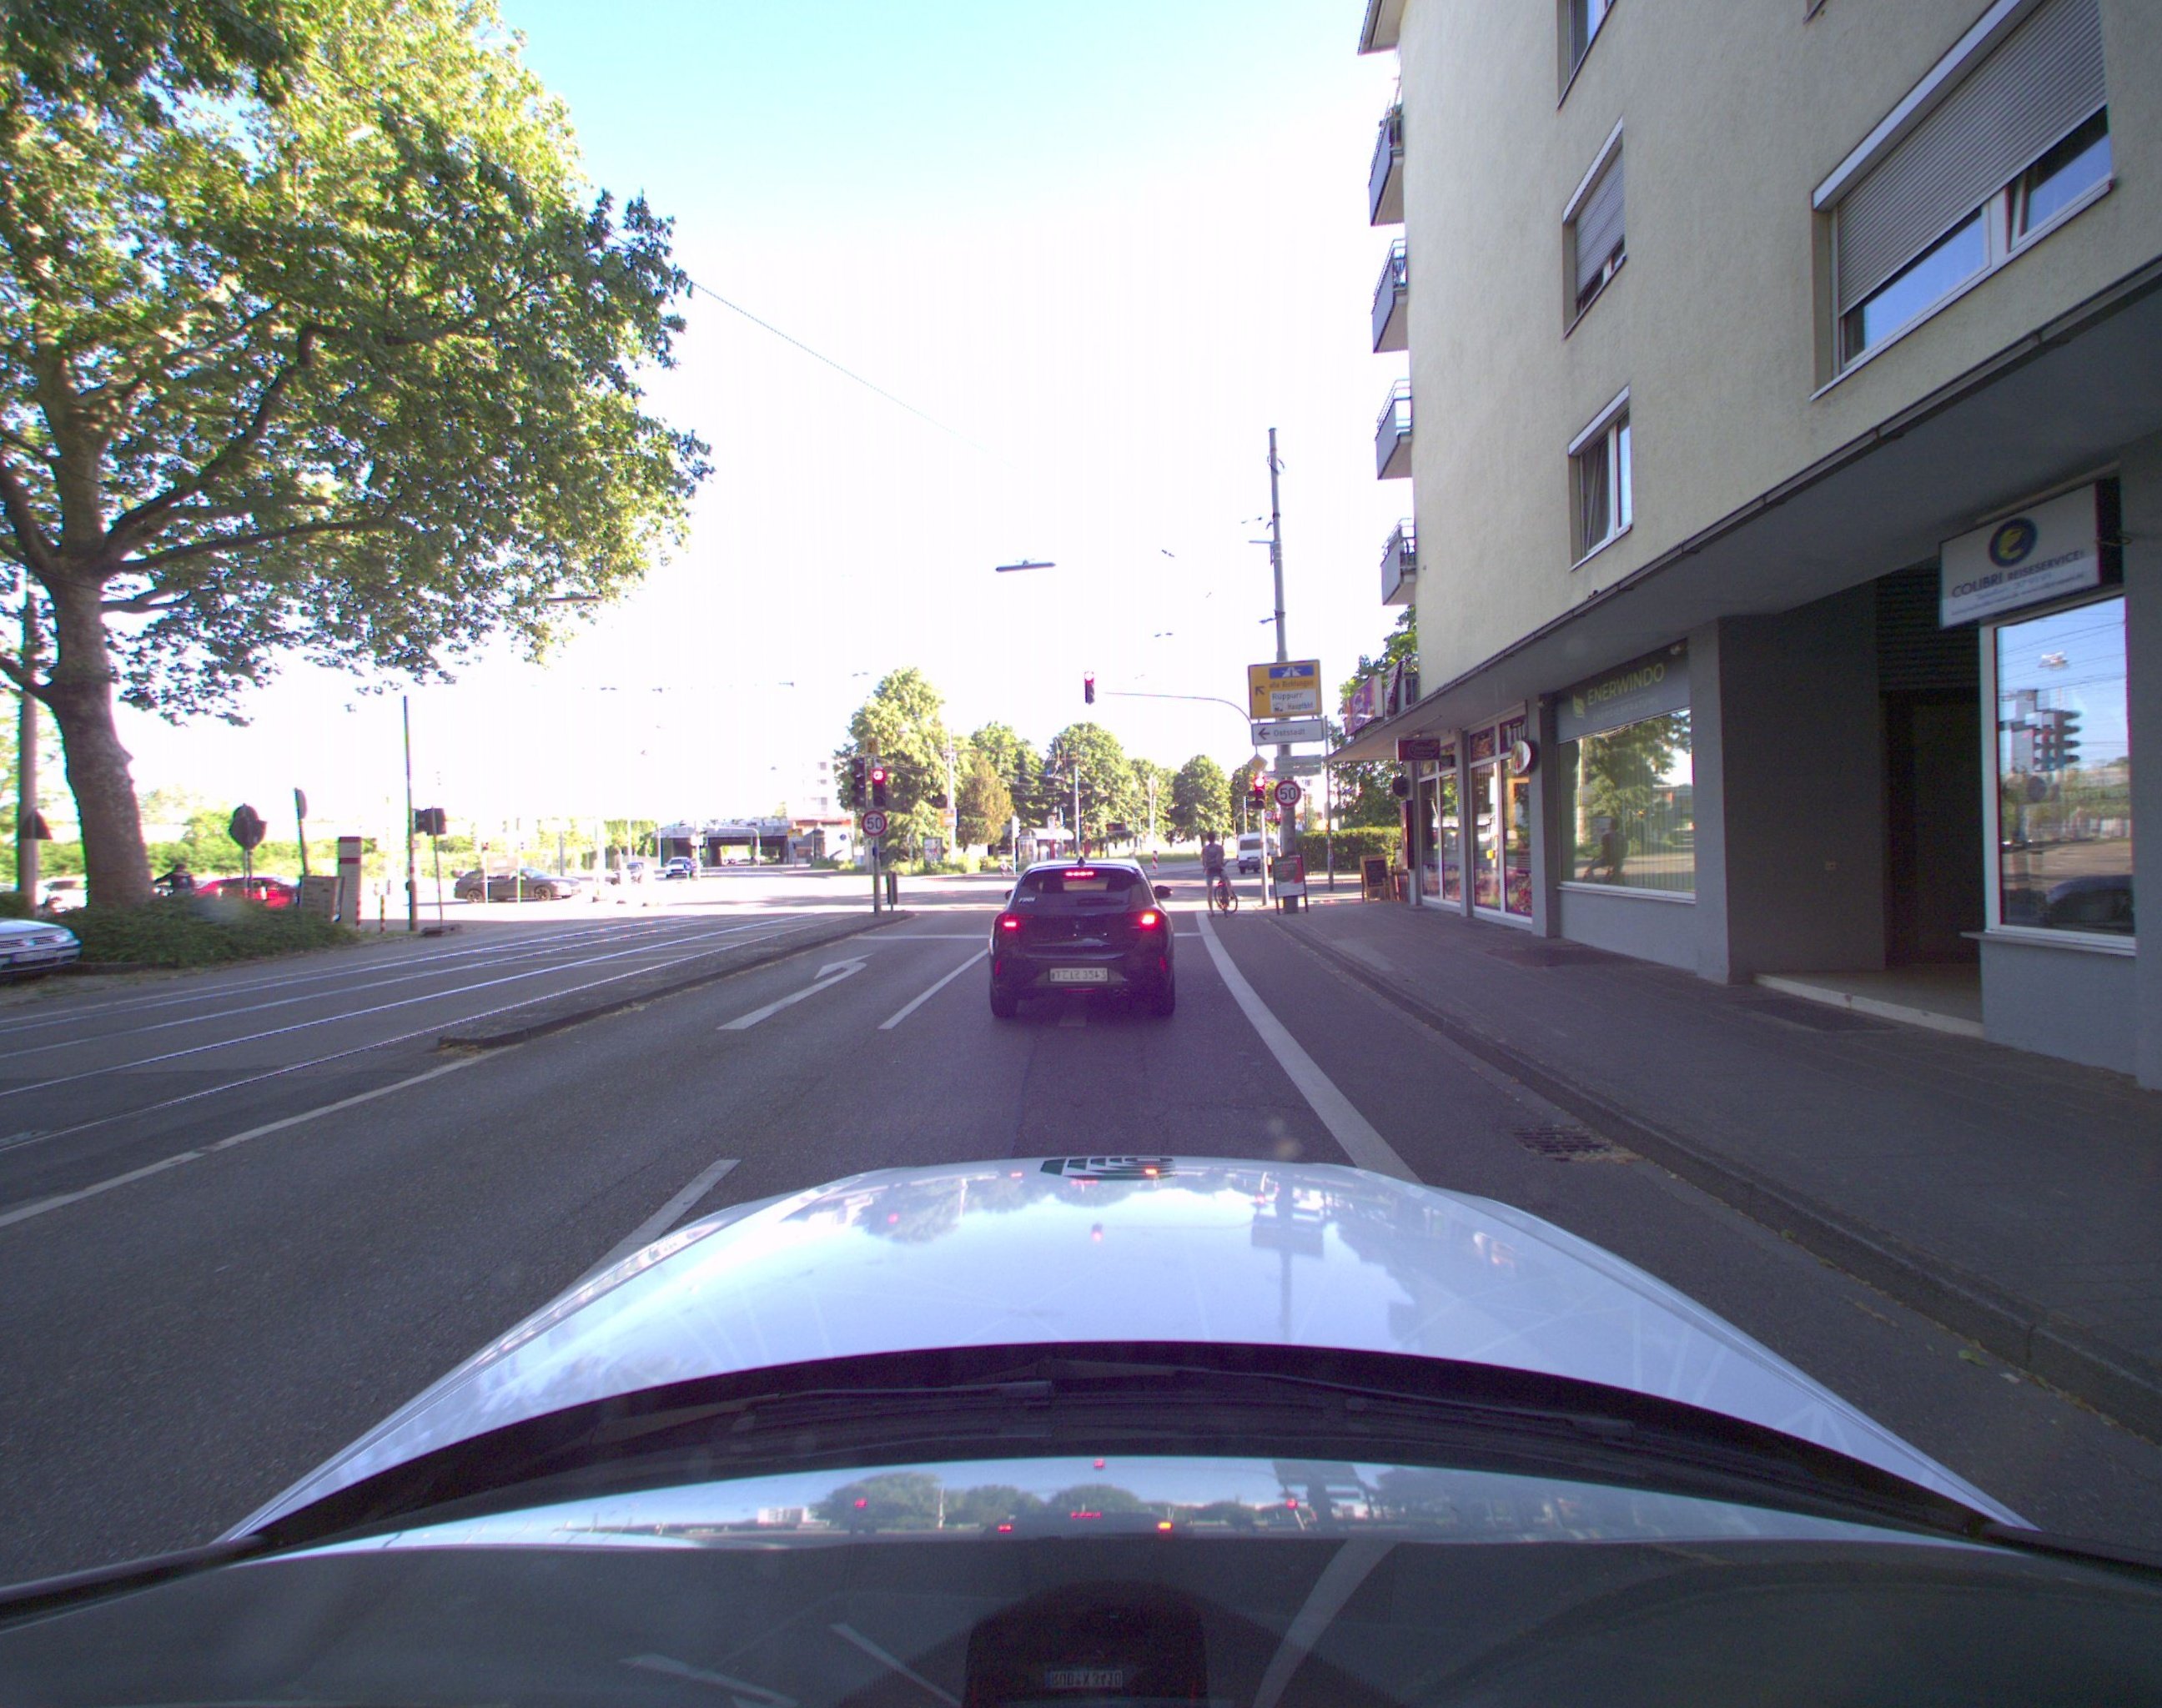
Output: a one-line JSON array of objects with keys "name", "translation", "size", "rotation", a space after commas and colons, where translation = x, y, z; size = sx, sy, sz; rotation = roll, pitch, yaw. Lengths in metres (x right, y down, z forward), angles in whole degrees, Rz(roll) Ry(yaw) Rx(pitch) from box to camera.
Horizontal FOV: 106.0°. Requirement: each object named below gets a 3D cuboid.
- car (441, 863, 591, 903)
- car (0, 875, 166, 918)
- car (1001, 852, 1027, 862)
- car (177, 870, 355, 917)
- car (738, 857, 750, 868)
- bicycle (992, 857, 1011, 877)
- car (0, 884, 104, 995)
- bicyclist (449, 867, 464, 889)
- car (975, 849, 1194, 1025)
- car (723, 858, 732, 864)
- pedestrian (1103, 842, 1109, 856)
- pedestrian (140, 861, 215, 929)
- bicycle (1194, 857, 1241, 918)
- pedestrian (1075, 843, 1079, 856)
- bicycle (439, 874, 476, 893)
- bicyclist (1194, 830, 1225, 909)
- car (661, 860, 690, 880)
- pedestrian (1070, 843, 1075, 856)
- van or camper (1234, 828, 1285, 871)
[{"name": "car", "translation": [-23.246, 1.170, 33.645], "size": [4.715, 1.473, 1.937], "rotation": [-1, 0, -3]}, {"name": "car", "translation": [-40.041, 1.653, 32.513], "size": [4.203, 1.552, 1.981], "rotation": [0, -1, -25]}, {"name": "car", "translation": [-9.826, 0.448, 120.075], "size": [3.549, 1.569, 1.535], "rotation": [0, -1, -22]}, {"name": "car", "translation": [-32.042, 1.515, 32.200], "size": [4.496, 1.565, 2.007], "rotation": [-1, 0, -23]}, {"name": "car", "translation": [-54.306, 1.403, 131.193], "size": [1.761, 1.684, 3.713], "rotation": [0, -1, -22]}, {"name": "bicycle", "translation": [-4.566, 0.738, 46.825], "size": [0.793, 1.064, 2.186], "rotation": [-2, 0, 2]}, {"name": "car", "translation": [-16.630, 1.195, 11.342], "size": [3.957, 1.453, 1.670], "rotation": [-1, 0, -1]}, {"name": "bicyclist", "translation": [-35.622, 1.342, 46.439], "size": [0.520, 1.222, 0.533], "rotation": [-1, 0, 38]}, {"name": "car", "translation": [0.092, 0.702, 8.930], "size": [1.833, 1.462, 3.985], "rotation": [-1, 0, 2]}, {"name": "car", "translation": [-82.767, 1.620, 190.658], "size": [1.587, 1.260, 3.397], "rotation": [-2, 0, -28]}, {"name": "pedestrian", "translation": [3.388, -0.720, 111.555], "size": [0.607, 1.872, 0.514], "rotation": [0, -1, -29]}, {"name": "pedestrian", "translation": [-22.759, 1.014, 20.537], "size": [0.842, 1.647, 0.931], "rotation": [0, -1, 1]}, {"name": "bicycle", "translation": [3.057, 0.713, 18.069], "size": [0.747, 1.235, 2.024], "rotation": [-2, 0, 16]}, {"name": "pedestrian", "translation": [-0.539, -0.645, 117.027], "size": [0.602, 1.872, 0.519], "rotation": [0, -1, -4]}, {"name": "bicycle", "translation": [-35.577, 1.692, 46.488], "size": [0.520, 0.982, 1.587], "rotation": [-1, 0, 37]}, {"name": "bicyclist", "translation": [2.827, 0.331, 17.840], "size": [0.529, 1.692, 0.571], "rotation": [-2, 0, 19]}, {"name": "car", "translation": [-33.870, 1.319, 68.106], "size": [1.892, 1.585, 3.809], "rotation": [0, -1, -21]}, {"name": "pedestrian", "translation": [-1.242, -0.637, 117.399], "size": [0.602, 1.872, 0.519], "rotation": [0, -1, -4]}, {"name": "van or camper", "translation": [10.187, -0.222, 46.208], "size": [2.011, 2.310, 4.565], "rotation": [-1, -1, 23]}]
